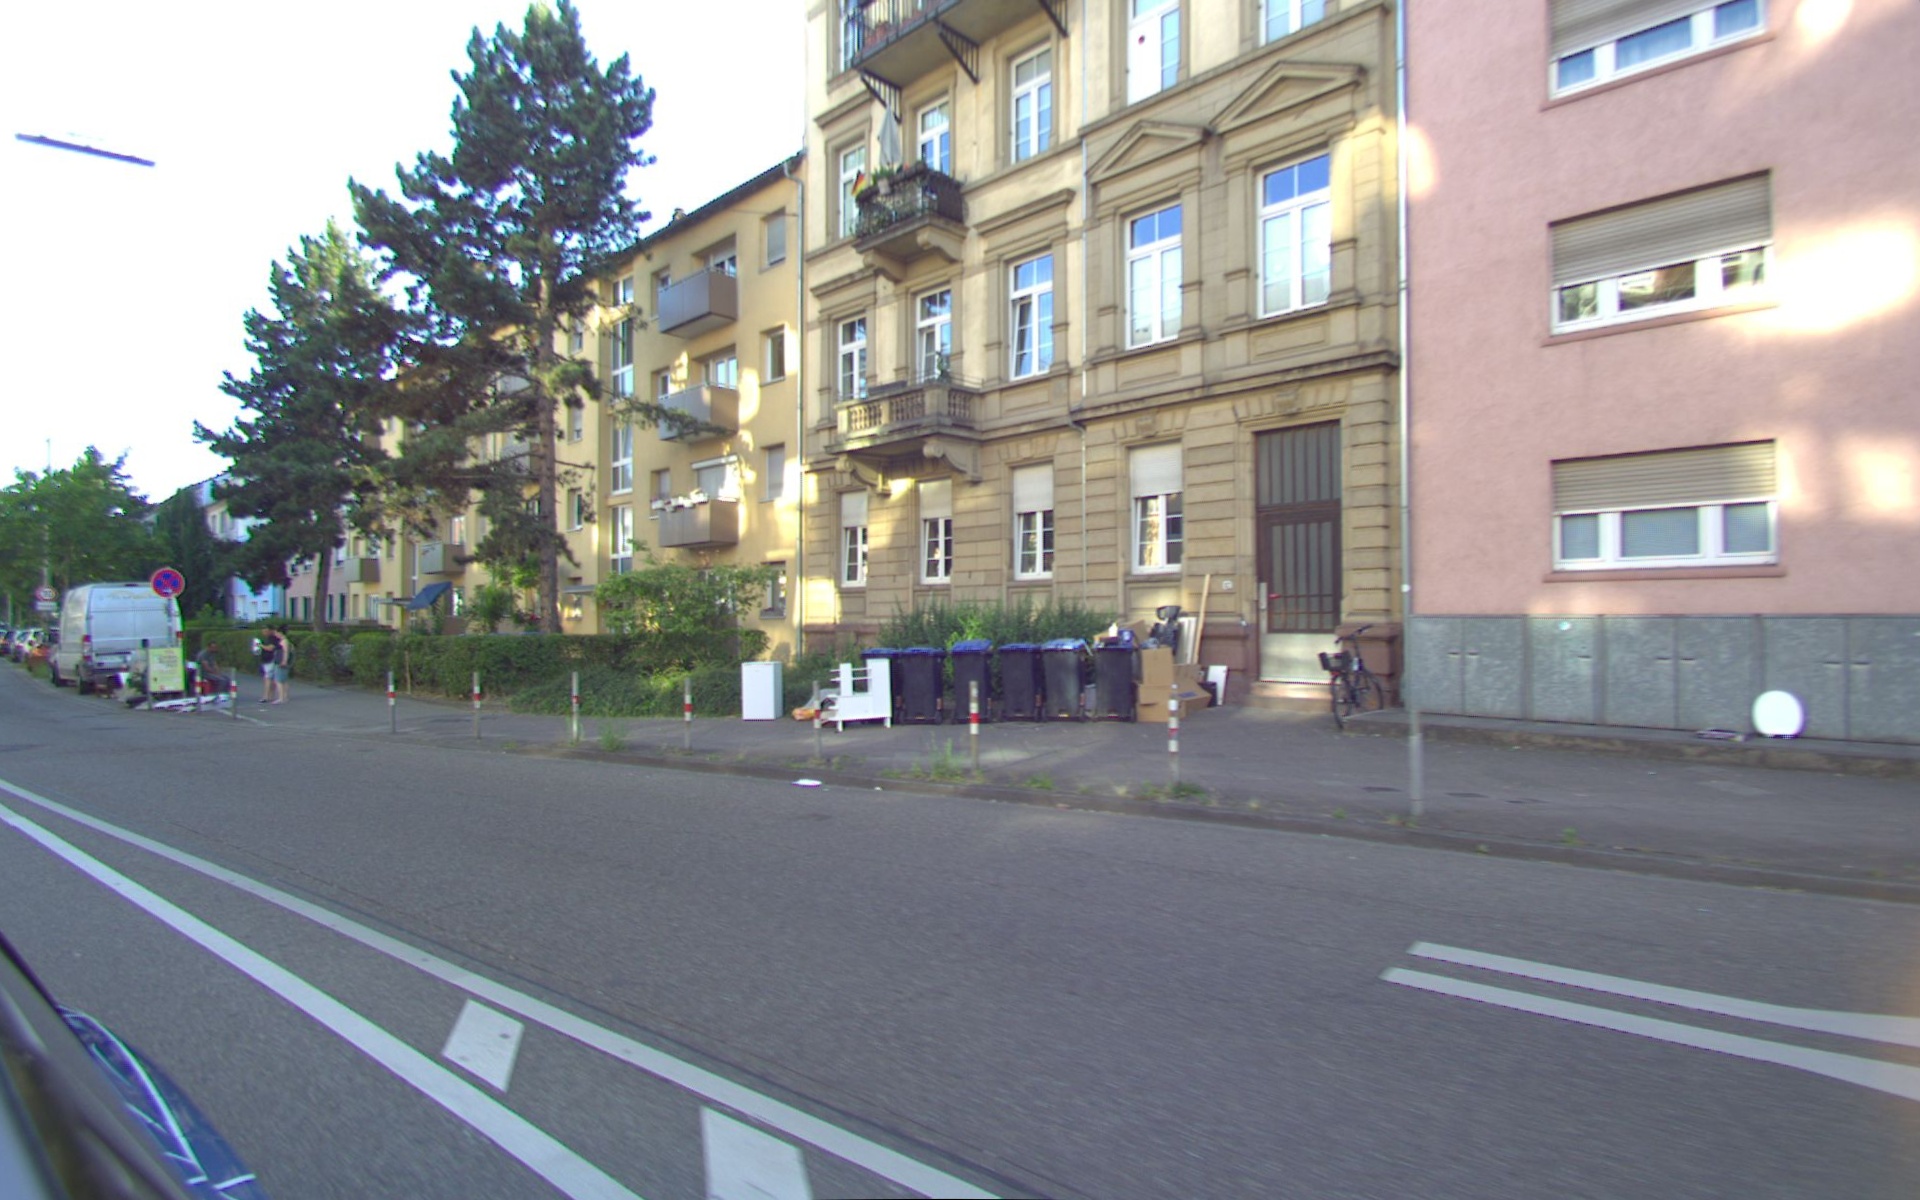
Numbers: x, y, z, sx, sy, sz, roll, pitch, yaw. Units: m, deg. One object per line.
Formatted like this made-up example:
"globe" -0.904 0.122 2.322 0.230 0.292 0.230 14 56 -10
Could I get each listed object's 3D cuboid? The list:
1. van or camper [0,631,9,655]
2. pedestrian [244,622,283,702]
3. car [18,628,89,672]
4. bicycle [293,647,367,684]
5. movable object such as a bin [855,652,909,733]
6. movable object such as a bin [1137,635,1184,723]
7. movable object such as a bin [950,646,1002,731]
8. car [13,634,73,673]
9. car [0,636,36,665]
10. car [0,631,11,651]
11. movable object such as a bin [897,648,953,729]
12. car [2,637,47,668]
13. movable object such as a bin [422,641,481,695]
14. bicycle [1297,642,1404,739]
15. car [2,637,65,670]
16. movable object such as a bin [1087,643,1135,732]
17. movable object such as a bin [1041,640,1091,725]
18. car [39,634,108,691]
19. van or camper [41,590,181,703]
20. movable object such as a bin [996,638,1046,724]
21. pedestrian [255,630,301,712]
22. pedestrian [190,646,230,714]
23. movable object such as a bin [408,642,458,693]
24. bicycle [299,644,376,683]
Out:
"van or camper" -83.812 3.730 87.695 4.865 2.029 1.784 -2 -2 44
"pedestrian" -14.847 1.303 21.579 0.724 1.664 0.475 -2 -2 39
"car" -32.756 1.798 36.533 3.924 1.463 1.697 -3 -2 45
"bicycle" -18.185 1.874 29.237 1.738 0.989 0.590 0 -1 -45
"movable object such as a bin" -1.109 1.316 14.509 0.578 1.091 0.639 -1 0 14
"movable object such as a bin" 2.695 1.046 13.570 0.578 1.119 0.639 -1 0 14
"movable object such as a bin" 0.228 1.224 14.176 0.578 1.119 0.639 -1 0 14
"car" -40.470 2.341 44.641 4.188 1.600 1.756 -2 -2 45
"car" -53.053 2.825 56.657 1.816 1.529 4.318 -1 -1 -45
"car" -73.114 3.116 76.745 1.660 1.454 3.884 -1 -1 -44
"movable object such as a bin" -0.485 1.236 14.286 0.621 1.076 0.639 -1 0 14
"car" -49.223 2.710 53.229 3.643 1.503 1.573 -1 -1 44
"movable object such as a bin" -10.741 1.426 21.377 0.769 1.058 0.858 -2 0 43
"bicycle" 4.953 1.107 12.796 0.662 0.974 1.631 -2 3 43
"car" -44.068 2.491 48.105 4.460 1.459 1.971 -2 -2 44
"movable object such as a bin" 2.041 1.164 13.635 0.578 1.119 0.639 -1 0 14
"movable object such as a bin" 1.442 1.102 13.707 0.578 1.119 0.639 -1 -2 14
"car" -26.289 1.808 29.999 1.387 1.560 2.764 -1 -1 -44
"van or camper" -22.661 1.167 26.907 6.014 2.684 2.014 -2 0 42
"movable object such as a bin" 0.848 1.107 14.006 0.578 1.119 0.639 -1 0 14
"pedestrian" -14.242 1.468 21.142 0.696 1.664 0.598 -2 -2 38
"pedestrian" -15.700 1.661 21.192 0.480 1.388 0.553 -2 -1 39
"movable object such as a bin" -11.635 1.481 22.365 0.582 1.058 0.802 -2 0 43
"bicycle" -17.652 1.782 28.709 1.764 0.989 0.590 0 -1 -45
